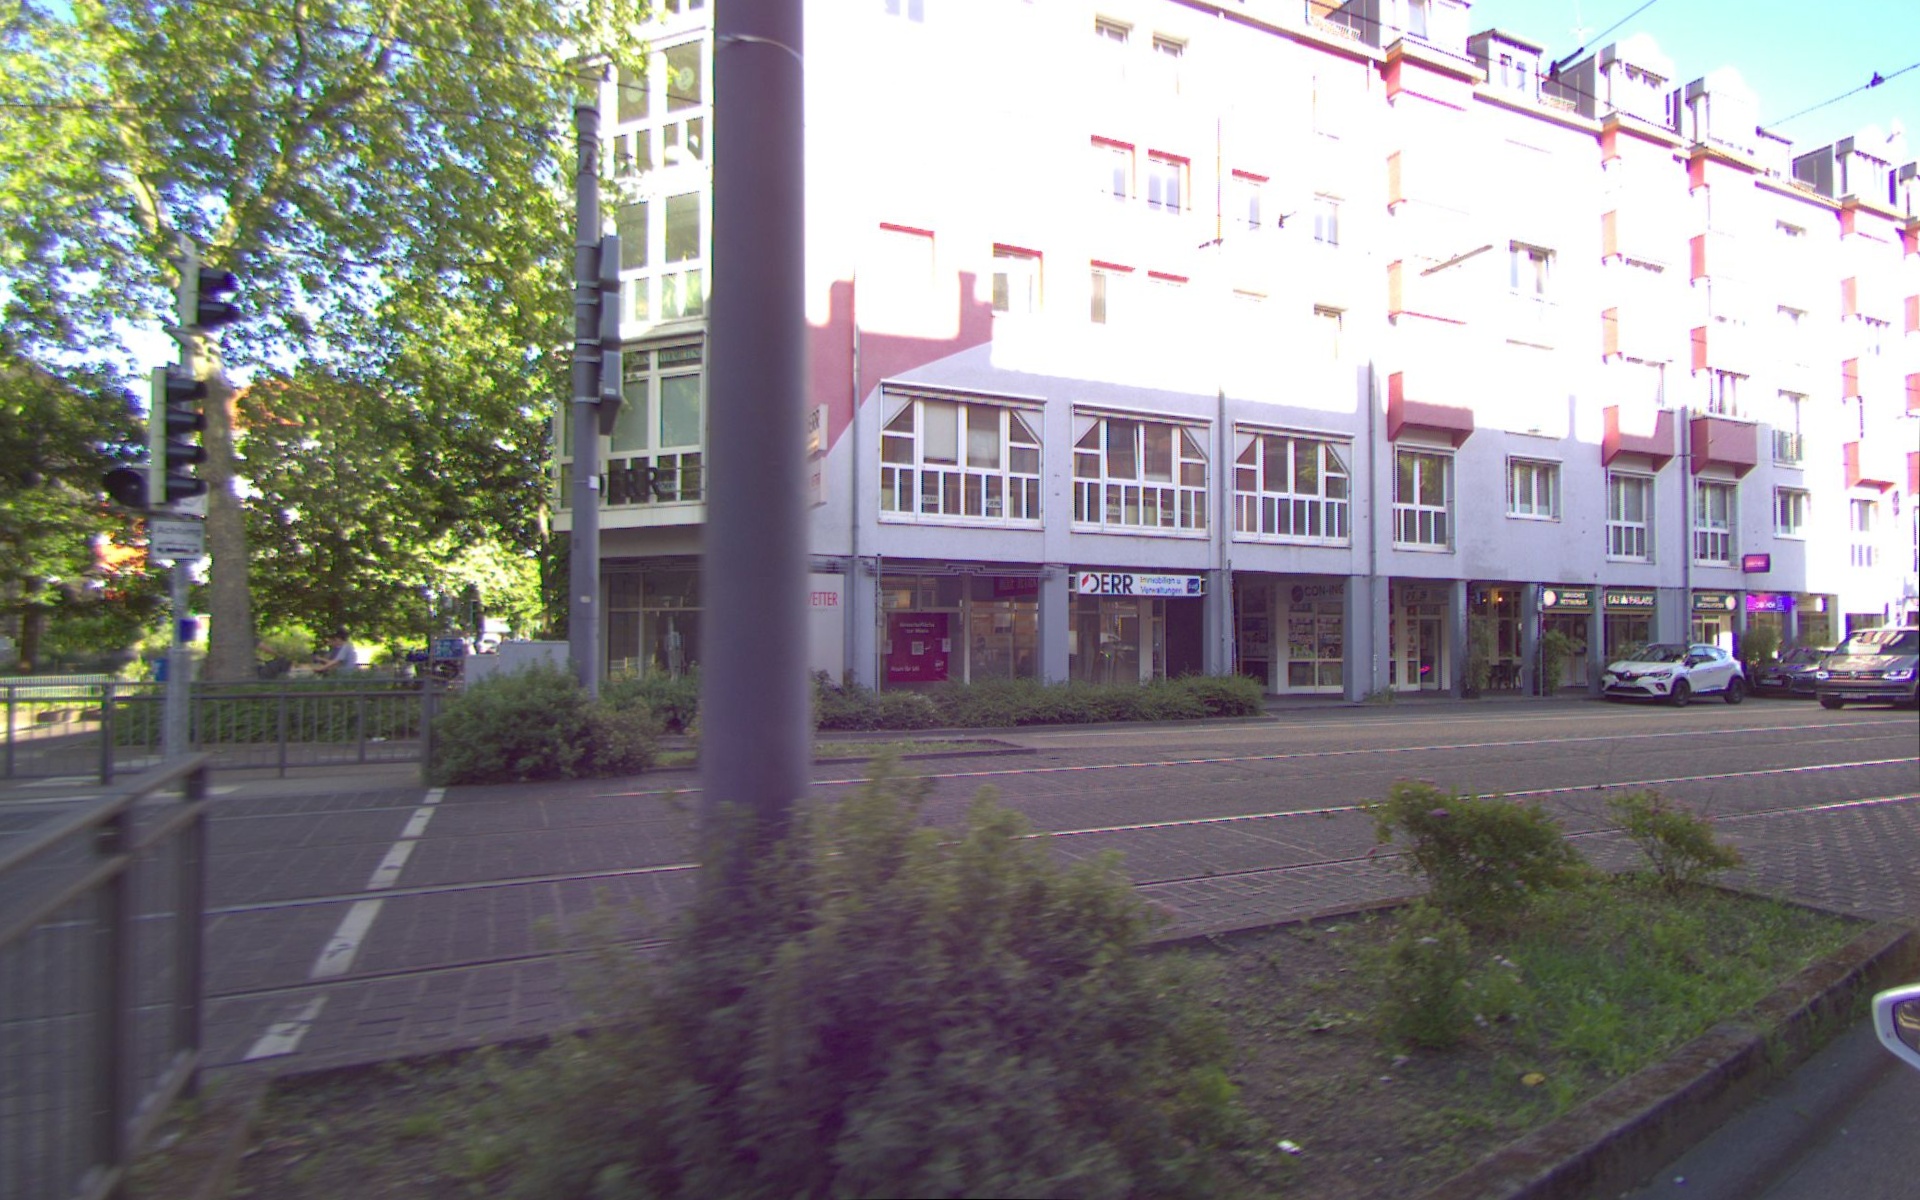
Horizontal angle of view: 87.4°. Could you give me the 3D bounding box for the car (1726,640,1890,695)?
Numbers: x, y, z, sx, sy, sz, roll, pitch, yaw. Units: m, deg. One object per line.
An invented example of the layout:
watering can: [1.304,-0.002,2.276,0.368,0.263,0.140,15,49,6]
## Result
car: [25.052,1.949,29.662,4.761,1.477,1.896,1,-2,-25]

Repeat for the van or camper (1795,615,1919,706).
van or camper: [22.361,1.409,23.707,4.763,1.965,1.991,1,-4,-22]

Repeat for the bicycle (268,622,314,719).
bicycle: [-12.314,1.285,18.487,0.642,1.738,0.577,1,-2,-40]

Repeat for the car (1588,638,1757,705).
car: [19.041,1.841,26.838,4.313,1.635,1.910,1,-2,-27]

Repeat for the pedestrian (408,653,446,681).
pedestrian: [-20.434,2.546,38.560,1.254,1.008,1.242,1,-2,-27]

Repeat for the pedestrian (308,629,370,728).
pedestrian: [-10.727,1.338,17.350,0.679,1.658,0.674,-1,-2,33]

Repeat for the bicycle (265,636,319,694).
bicycle: [-12.232,1.157,18.371,0.642,0.979,2.146,1,-2,-38]
